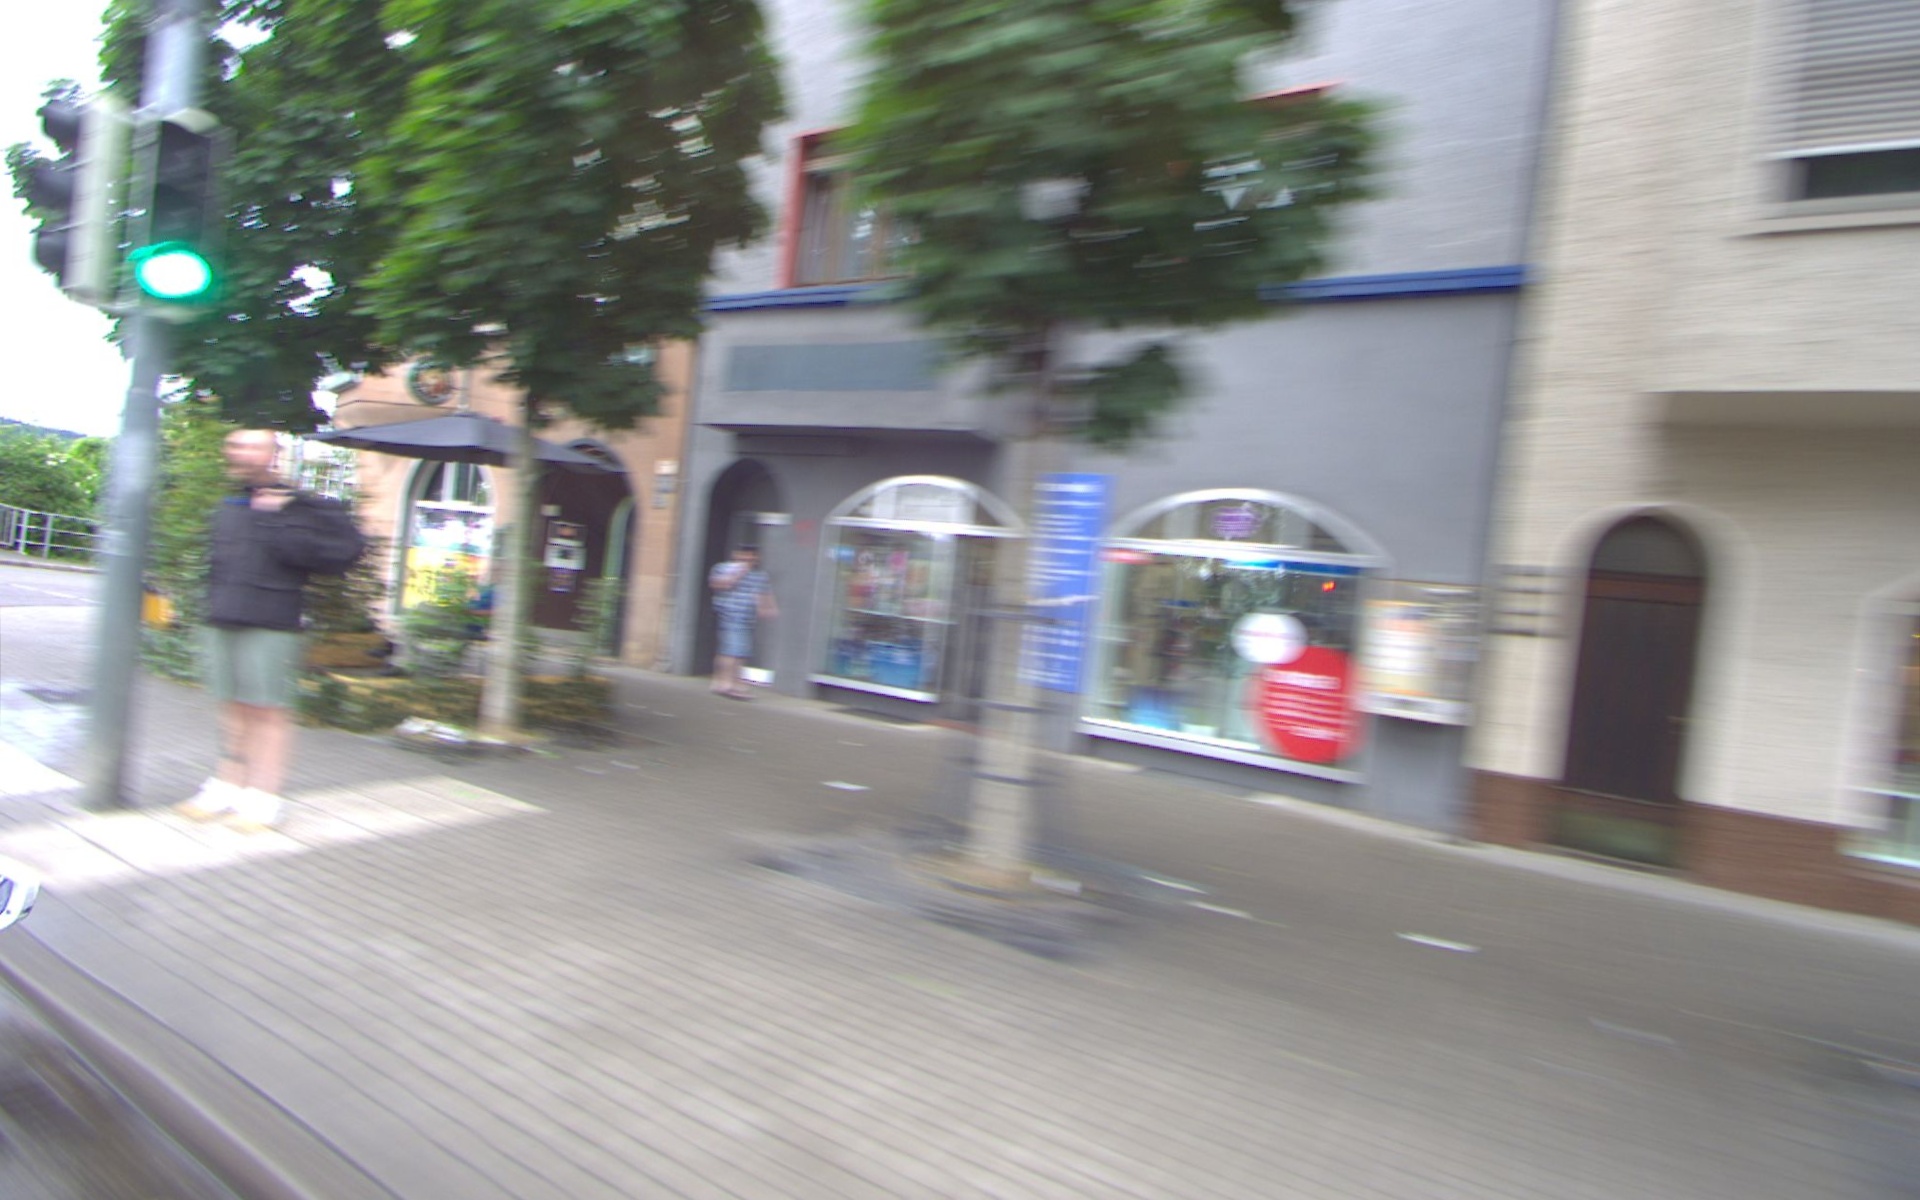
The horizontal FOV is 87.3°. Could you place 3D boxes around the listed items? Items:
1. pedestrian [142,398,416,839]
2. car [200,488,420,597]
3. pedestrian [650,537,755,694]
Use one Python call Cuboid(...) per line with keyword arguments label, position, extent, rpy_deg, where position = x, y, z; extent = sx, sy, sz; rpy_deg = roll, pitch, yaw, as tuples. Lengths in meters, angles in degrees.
Cuboid(label="pedestrian", position=(-3.165, 0.076, 4.705), extent=(0.620, 1.864, 0.733), rpy_deg=(7, 1, 30))
Cuboid(label="car", position=(-16.695, -1.376, 26.218), extent=(1.962, 2.036, 4.766), rpy_deg=(8, -3, 9))
Cuboid(label="pedestrian", position=(-2.772, 0.170, 10.837), extent=(0.714, 1.591, 0.644), rpy_deg=(7, 1, 34))
